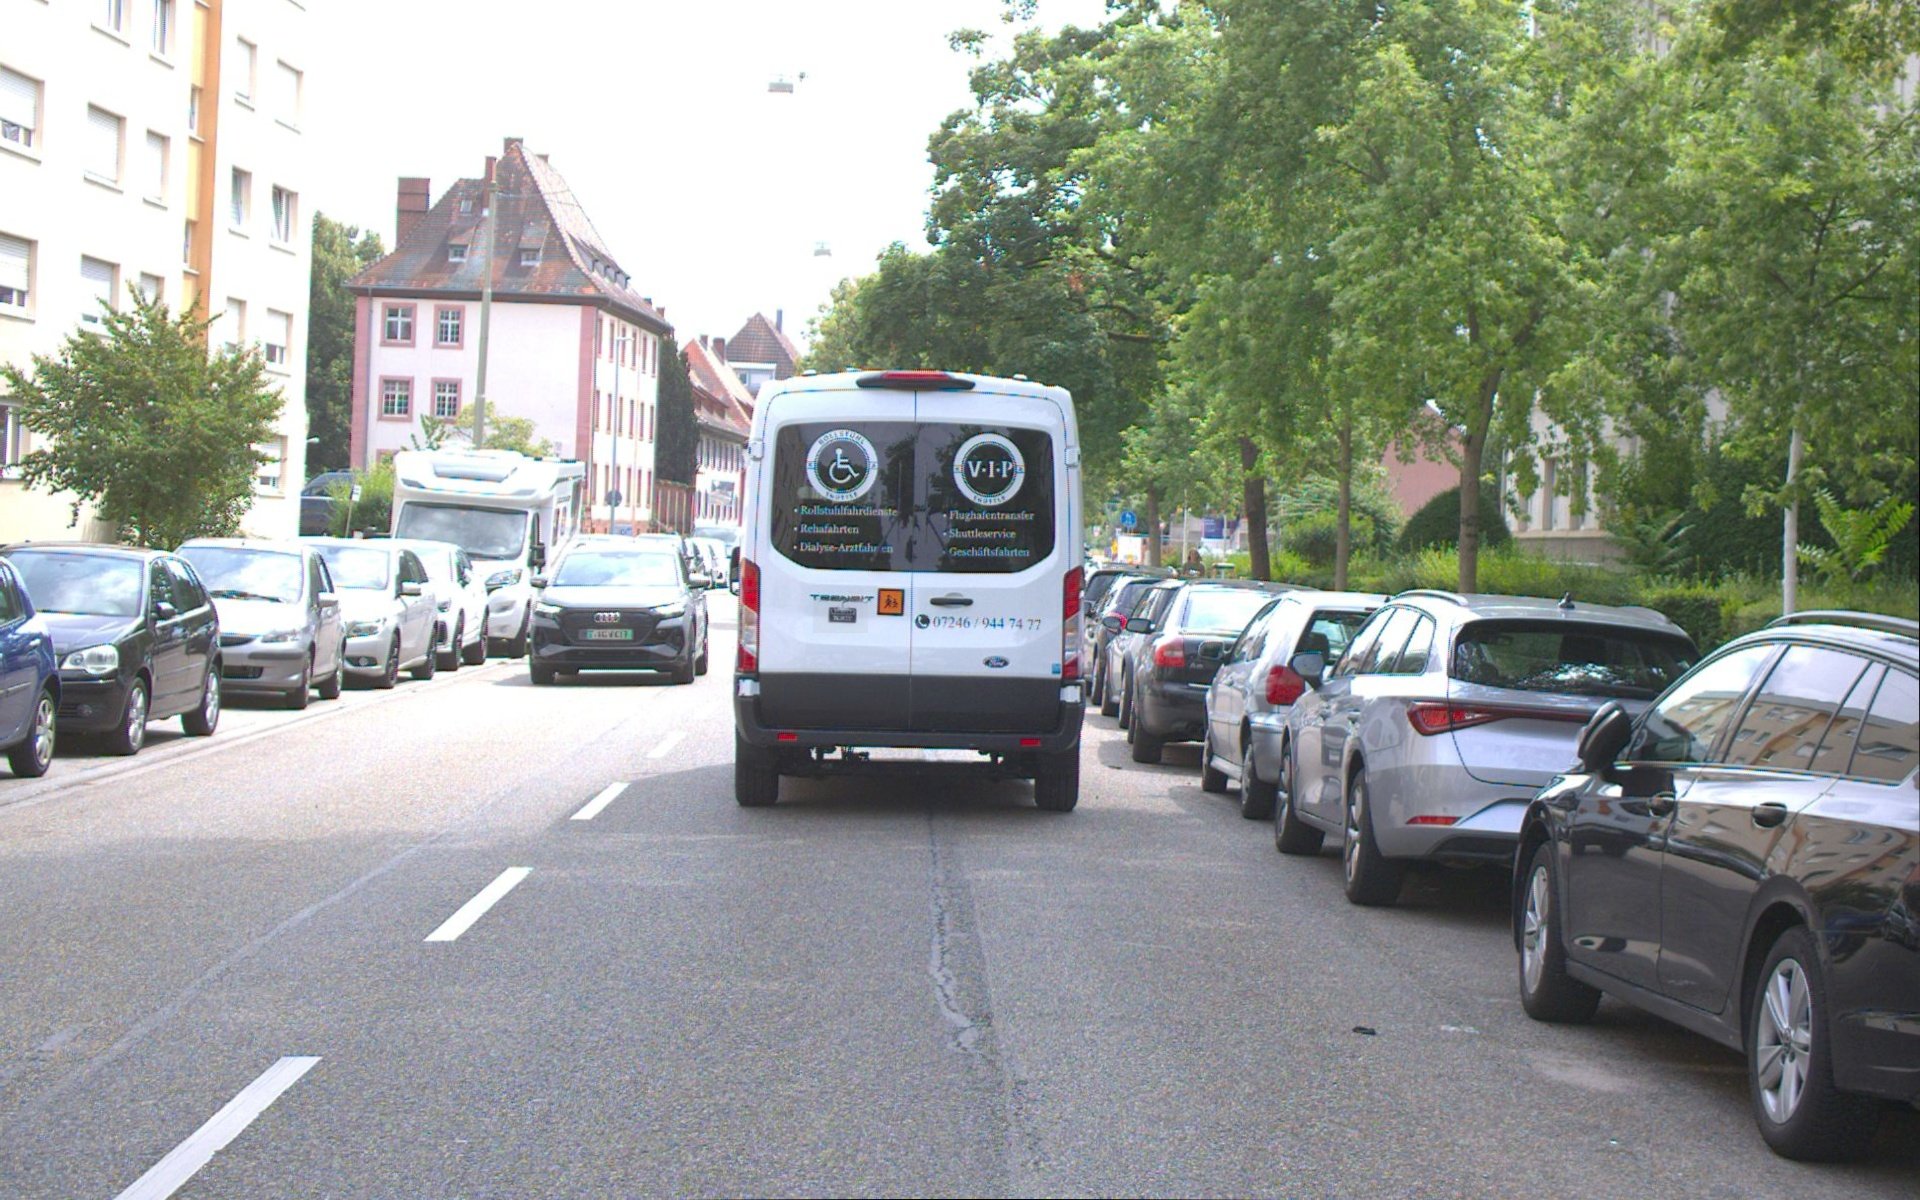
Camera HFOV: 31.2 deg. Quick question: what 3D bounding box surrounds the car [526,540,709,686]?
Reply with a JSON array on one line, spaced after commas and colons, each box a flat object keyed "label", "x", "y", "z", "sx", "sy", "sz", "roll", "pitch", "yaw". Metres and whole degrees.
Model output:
[{"label": "car", "x": -3.968, "y": 0.106, "z": 40.416, "sx": 1.818, "sy": 1.580, "sz": 4.437, "roll": 1, "pitch": 1, "yaw": -2}]

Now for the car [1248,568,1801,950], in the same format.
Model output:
[{"label": "car", "x": 2.567, "y": 0.647, "z": 16.778, "sx": 1.697, "sy": 1.464, "sz": 4.718, "roll": 3, "pitch": 1, "yaw": -2}]

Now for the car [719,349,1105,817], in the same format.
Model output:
[{"label": "car", "x": -0.374, "y": -0.113, "z": 21.203, "sx": 2.070, "sy": 2.531, "sz": 4.635, "roll": 1, "pitch": 0, "yaw": -3}]

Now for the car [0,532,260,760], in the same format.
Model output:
[{"label": "car", "x": -6.624, "y": 0.280, "z": 25.735, "sx": 1.818, "sy": 1.478, "sz": 4.116, "roll": 3, "pitch": 1, "yaw": 1}]

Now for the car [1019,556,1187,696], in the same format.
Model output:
[{"label": "car", "x": 1.799, "y": 0.289, "z": 44.432, "sx": 1.659, "sy": 1.577, "sz": 4.286, "roll": 5, "pitch": 1, "yaw": -3}]

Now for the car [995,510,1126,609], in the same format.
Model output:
[{"label": "car", "x": 1.856, "y": -0.781, "z": 64.977, "sx": 1.927, "sy": 1.655, "sz": 5.326, "roll": 5, "pitch": 1, "yaw": -3}]

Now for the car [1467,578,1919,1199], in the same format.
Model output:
[{"label": "car", "x": 2.855, "y": 0.745, "z": 10.313, "sx": 1.697, "sy": 1.464, "sz": 4.754, "roll": 3, "pitch": 1, "yaw": -2}]

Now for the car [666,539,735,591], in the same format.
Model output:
[{"label": "car", "x": -8.090, "y": -1.108, "z": 107.548, "sx": 1.786, "sy": 1.477, "sz": 3.861, "roll": 3, "pitch": 1, "yaw": 0}]

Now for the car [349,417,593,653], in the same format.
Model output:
[{"label": "car", "x": -6.941, "y": -0.934, "z": 49.706, "sx": 2.510, "sy": 3.013, "sz": 7.397, "roll": 3, "pitch": 1, "yaw": -2}]

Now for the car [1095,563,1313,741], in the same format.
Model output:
[{"label": "car", "x": 2.274, "y": 0.449, "z": 32.924, "sx": 1.659, "sy": 1.464, "sz": 3.726, "roll": 2, "pitch": 2, "yaw": -2}]

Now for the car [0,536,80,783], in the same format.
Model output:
[{"label": "car", "x": -6.702, "y": 0.329, "z": 20.444, "sx": 1.818, "sy": 1.478, "sz": 3.885, "roll": 3, "pitch": 1, "yaw": 1}]

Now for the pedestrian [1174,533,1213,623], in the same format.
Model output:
[{"label": "pedestrian", "x": 4.751, "y": -0.451, "z": 69.973, "sx": 0.522, "sy": 1.822, "sz": 0.523, "roll": 1, "pitch": 1, "yaw": -44}]

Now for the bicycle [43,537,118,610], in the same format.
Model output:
[{"label": "bicycle", "x": -12.596, "y": -0.389, "z": 49.284, "sx": 0.452, "sy": 0.977, "sz": 2.446, "roll": 2, "pitch": 2, "yaw": -1}]

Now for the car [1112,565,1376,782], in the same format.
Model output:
[{"label": "car", "x": 2.172, "y": 0.512, "z": 27.376, "sx": 1.780, "sy": 1.464, "sz": 4.614, "roll": 4, "pitch": 1, "yaw": 2}]

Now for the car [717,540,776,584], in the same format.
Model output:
[{"label": "car", "x": -7.637, "y": -1.374, "z": 123.310, "sx": 1.786, "sy": 1.477, "sz": 3.861, "roll": 3, "pitch": 1, "yaw": 0}]

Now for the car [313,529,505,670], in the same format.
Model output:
[{"label": "car", "x": -6.813, "y": -0.044, "z": 42.928, "sx": 1.688, "sy": 1.574, "sz": 4.594, "roll": 3, "pitch": 1, "yaw": -2}]

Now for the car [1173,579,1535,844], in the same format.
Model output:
[{"label": "car", "x": 2.432, "y": 0.645, "z": 22.103, "sx": 1.670, "sy": 1.396, "sz": 3.852, "roll": 4, "pitch": 1, "yaw": -2}]

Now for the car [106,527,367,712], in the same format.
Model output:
[{"label": "car", "x": -6.770, "y": 0.132, "z": 32.522, "sx": 1.722, "sy": 1.534, "sz": 4.005, "roll": 2, "pitch": 2, "yaw": -2}]

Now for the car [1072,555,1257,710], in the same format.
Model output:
[{"label": "car", "x": 2.205, "y": 0.316, "z": 37.890, "sx": 1.659, "sy": 1.464, "sz": 3.890, "roll": 1, "pitch": 2, "yaw": -2}]

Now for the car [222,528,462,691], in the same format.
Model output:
[{"label": "car", "x": -6.715, "y": 0.061, "z": 37.778, "sx": 1.755, "sy": 1.574, "sz": 4.568, "roll": 3, "pitch": 1, "yaw": 0}]
